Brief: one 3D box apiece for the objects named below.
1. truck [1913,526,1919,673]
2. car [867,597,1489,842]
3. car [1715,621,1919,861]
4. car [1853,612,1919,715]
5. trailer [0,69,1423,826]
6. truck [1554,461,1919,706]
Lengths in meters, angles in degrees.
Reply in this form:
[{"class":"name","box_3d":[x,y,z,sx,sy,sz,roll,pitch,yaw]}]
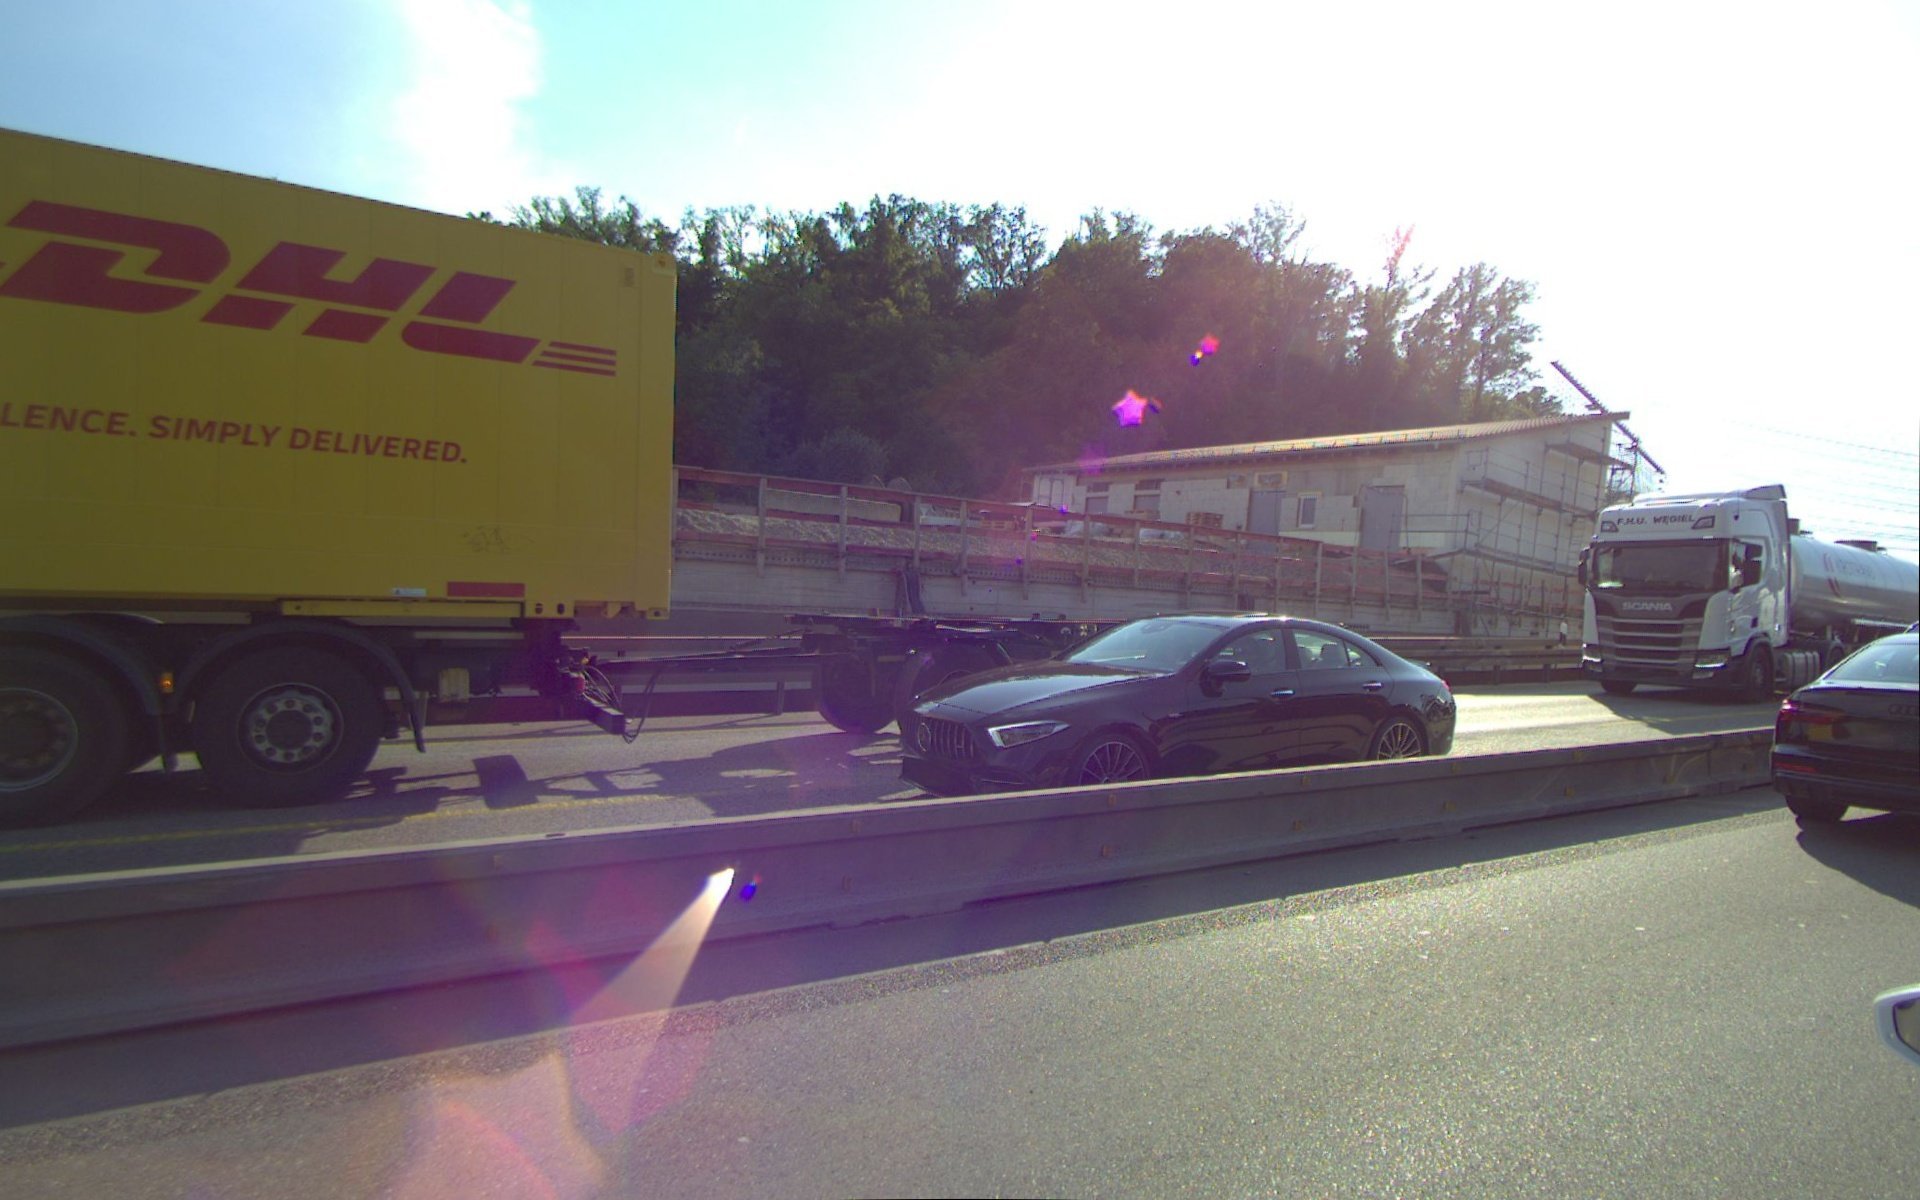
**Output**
[{"class":"truck","box_3d":[31.517,0.112,30.440,6.254,4.328,2.430,3,-1,-33]},{"class":"car","box_3d":[1.851,0.797,7.818,4.846,1.420,1.731,3,-1,-31]},{"class":"car","box_3d":[8.185,0.982,7.734,5.160,1.500,1.932,2,-2,-30]},{"class":"car","box_3d":[17.529,1.108,17.395,4.508,1.669,1.837,2,-2,-31]},{"class":"trailer","box_3d":[-1.938,-0.652,9.262,15.811,4.259,2.688,3,-1,-30]},{"class":"truck","box_3d":[17.752,-0.171,21.415,13.741,4.023,2.793,1,0,-33]}]
